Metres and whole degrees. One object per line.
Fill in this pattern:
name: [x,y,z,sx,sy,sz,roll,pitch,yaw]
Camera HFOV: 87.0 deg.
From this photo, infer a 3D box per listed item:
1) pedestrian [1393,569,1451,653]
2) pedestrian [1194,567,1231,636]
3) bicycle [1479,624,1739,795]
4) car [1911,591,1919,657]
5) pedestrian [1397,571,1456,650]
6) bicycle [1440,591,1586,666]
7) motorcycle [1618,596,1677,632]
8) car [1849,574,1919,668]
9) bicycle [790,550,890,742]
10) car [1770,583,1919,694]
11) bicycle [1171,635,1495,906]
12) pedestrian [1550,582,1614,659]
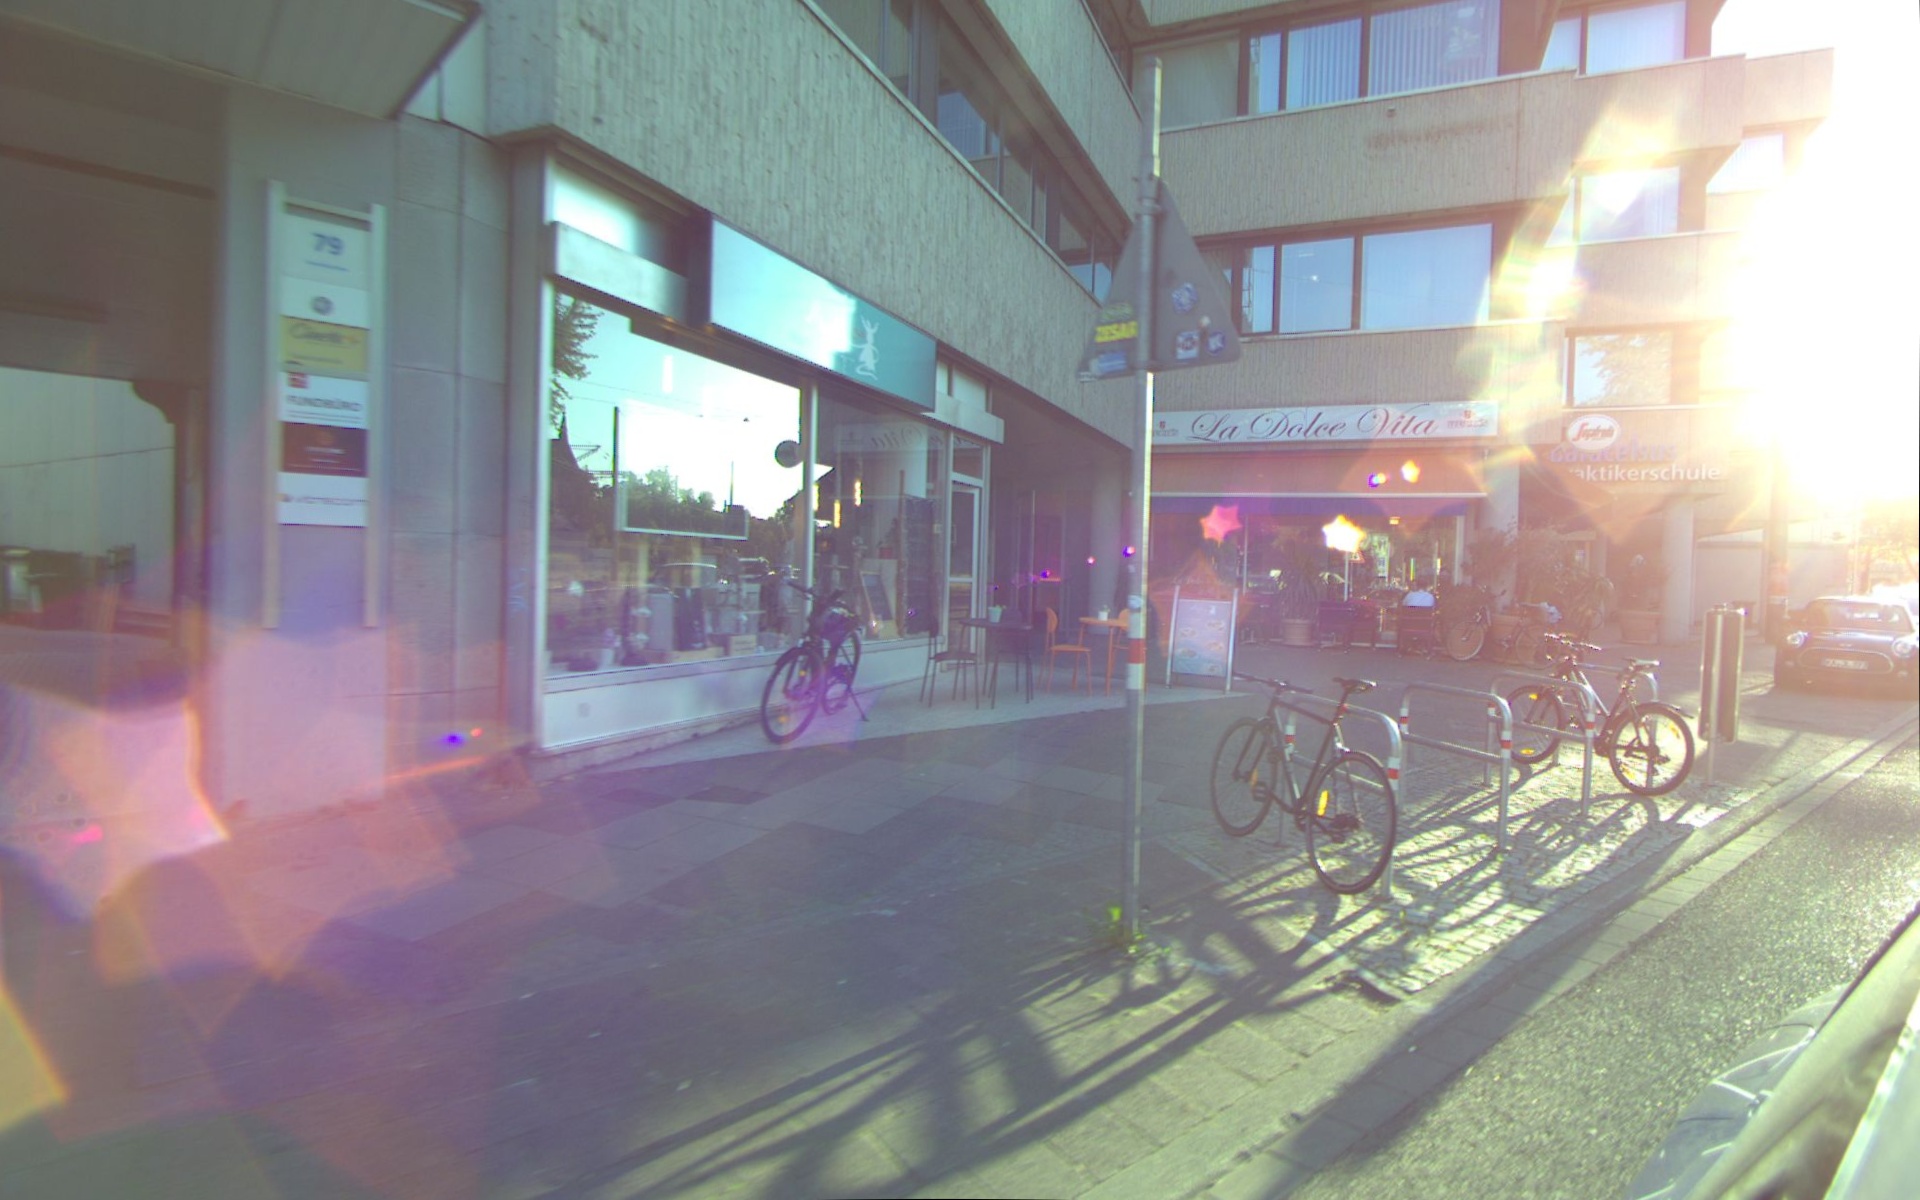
pedestrian: [7.605,0.172,16.643,0.639,1.312,0.697,4,2,40]
pedestrian: [4.759,0.027,19.076,0.552,1.255,0.609,2,1,24]
bicycle: [4.889,0.774,7.794,0.531,1.002,1.798,4,3,-10]
car: [24.397,0.588,24.477,3.929,1.547,1.644,1,0,-41]
pedestrian: [7.994,0.165,17.347,0.528,1.294,0.706,1,2,-41]
bicycle: [8.519,0.427,15.655,1.862,1.017,0.457,3,3,11]
motorcycle: [27.084,0.547,39.898,0.655,1.309,1.801,1,2,-25]
car: [20.116,0.417,21.208,4.326,1.827,1.786,1,0,-43]
bicycle: [-0.898,0.283,7.904,0.408,1.291,1.663,1,4,6]
car: [14.248,0.538,15.793,3.851,1.526,1.794,1,0,-40]
bicycle: [1.840,0.789,5.336,0.530,1.002,1.799,3,3,-18]
pedestrian: [11.045,0.342,17.985,0.752,1.314,0.707,2,1,14]
